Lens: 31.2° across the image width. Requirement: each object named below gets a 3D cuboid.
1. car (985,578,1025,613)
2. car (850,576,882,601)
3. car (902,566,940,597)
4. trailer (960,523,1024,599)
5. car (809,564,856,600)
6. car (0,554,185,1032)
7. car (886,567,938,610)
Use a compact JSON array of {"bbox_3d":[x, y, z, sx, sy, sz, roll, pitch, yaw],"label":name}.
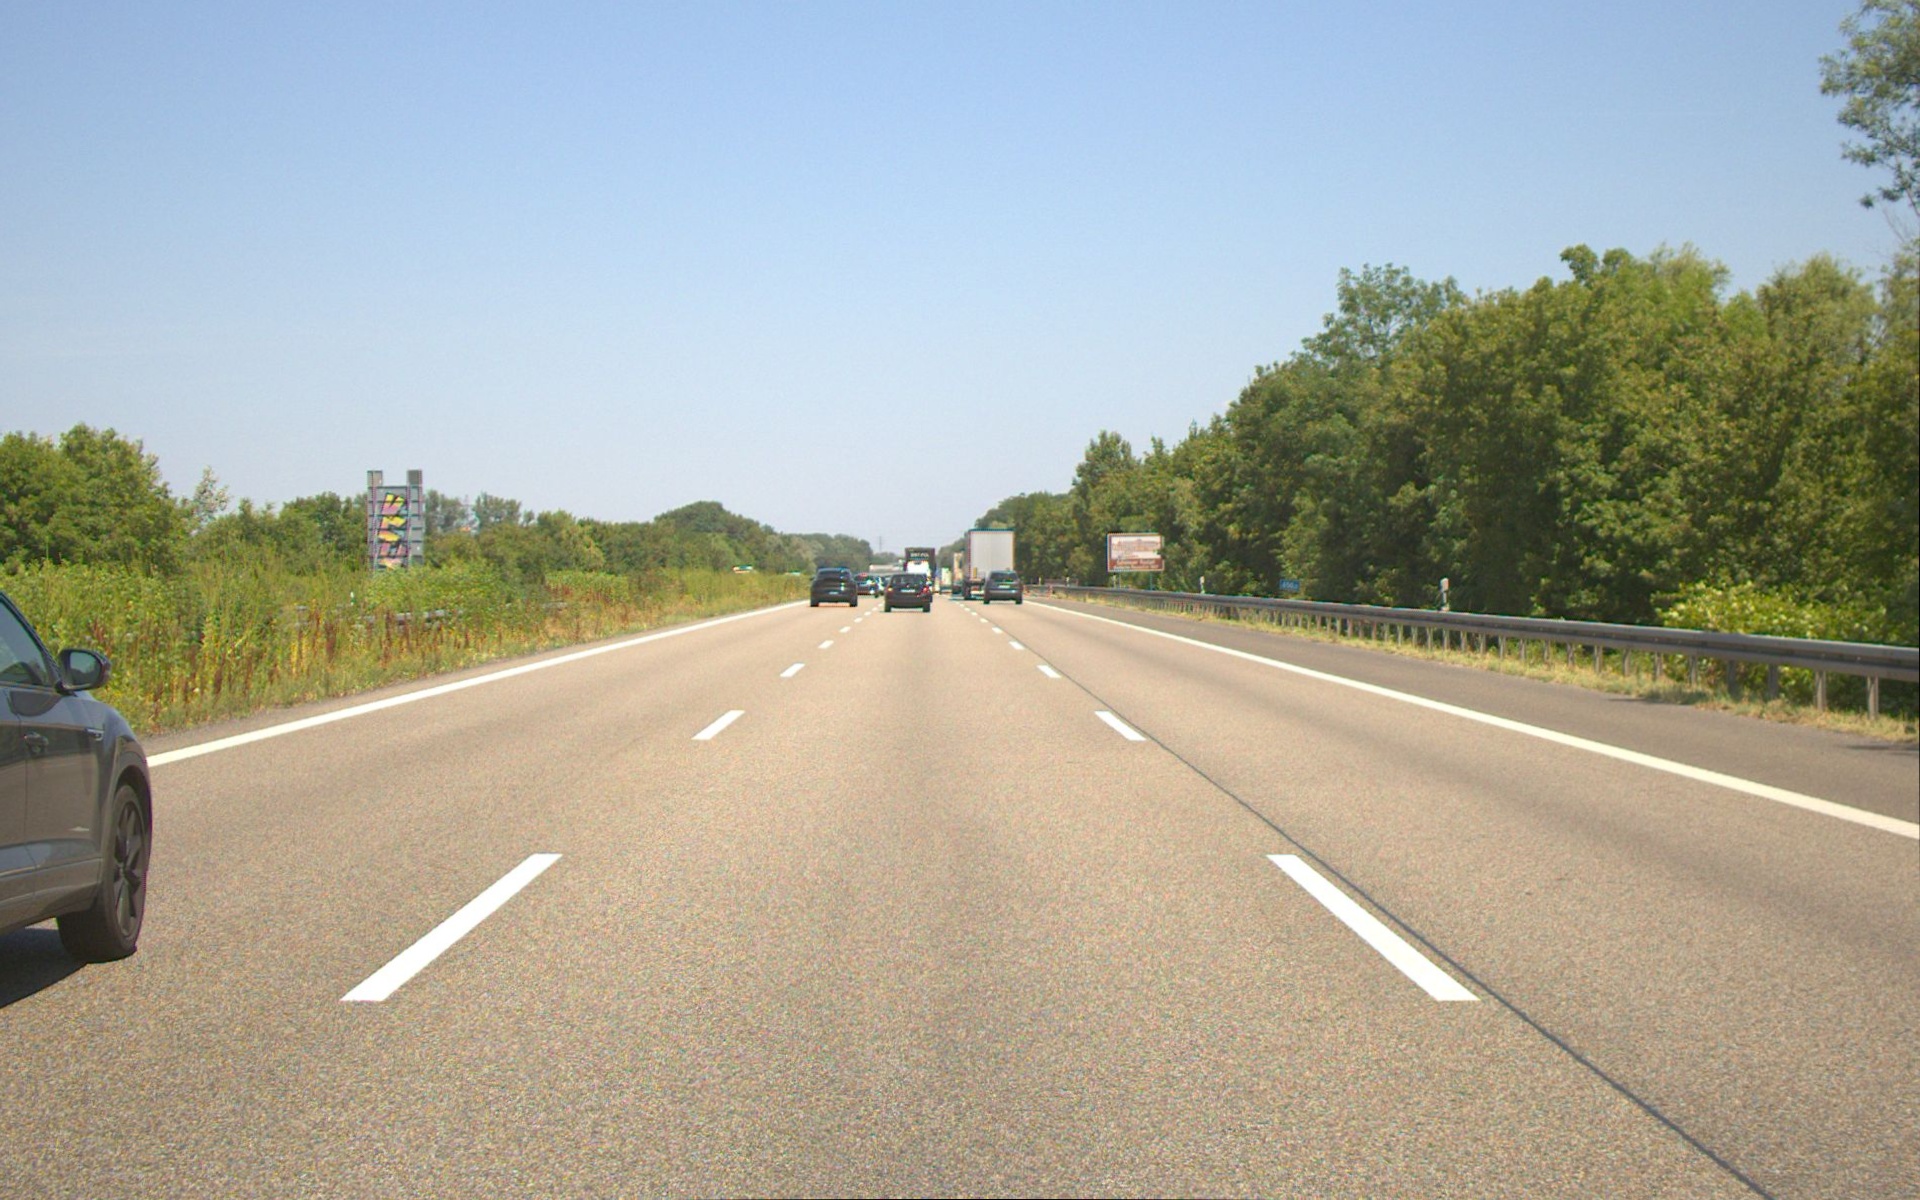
[{"bbox_3d":[2.194,-0.222,167.129,1.845,1.623,4.135,0,0,0],"label":"car"},{"bbox_3d":[-5.922,-0.747,216.479,1.907,1.526,4.285,1,1,-1],"label":"car"},{"bbox_3d":[-2.005,-0.963,176.423,1.900,1.526,4.084,1,1,-1],"label":"car"},{"bbox_3d":[1.792,-2.178,200.108,3.434,4.167,13.632,1,0,0],"label":"trailer"},{"bbox_3d":[-5.490,-0.790,148.577,1.907,1.526,4.285,1,1,-1],"label":"car"},{"bbox_3d":[-3.954,0.604,11.556,1.759,1.526,4.285,1,1,-1],"label":"car"},{"bbox_3d":[-1.774,-0.427,127.492,1.900,1.526,4.084,1,1,-1],"label":"car"}]
